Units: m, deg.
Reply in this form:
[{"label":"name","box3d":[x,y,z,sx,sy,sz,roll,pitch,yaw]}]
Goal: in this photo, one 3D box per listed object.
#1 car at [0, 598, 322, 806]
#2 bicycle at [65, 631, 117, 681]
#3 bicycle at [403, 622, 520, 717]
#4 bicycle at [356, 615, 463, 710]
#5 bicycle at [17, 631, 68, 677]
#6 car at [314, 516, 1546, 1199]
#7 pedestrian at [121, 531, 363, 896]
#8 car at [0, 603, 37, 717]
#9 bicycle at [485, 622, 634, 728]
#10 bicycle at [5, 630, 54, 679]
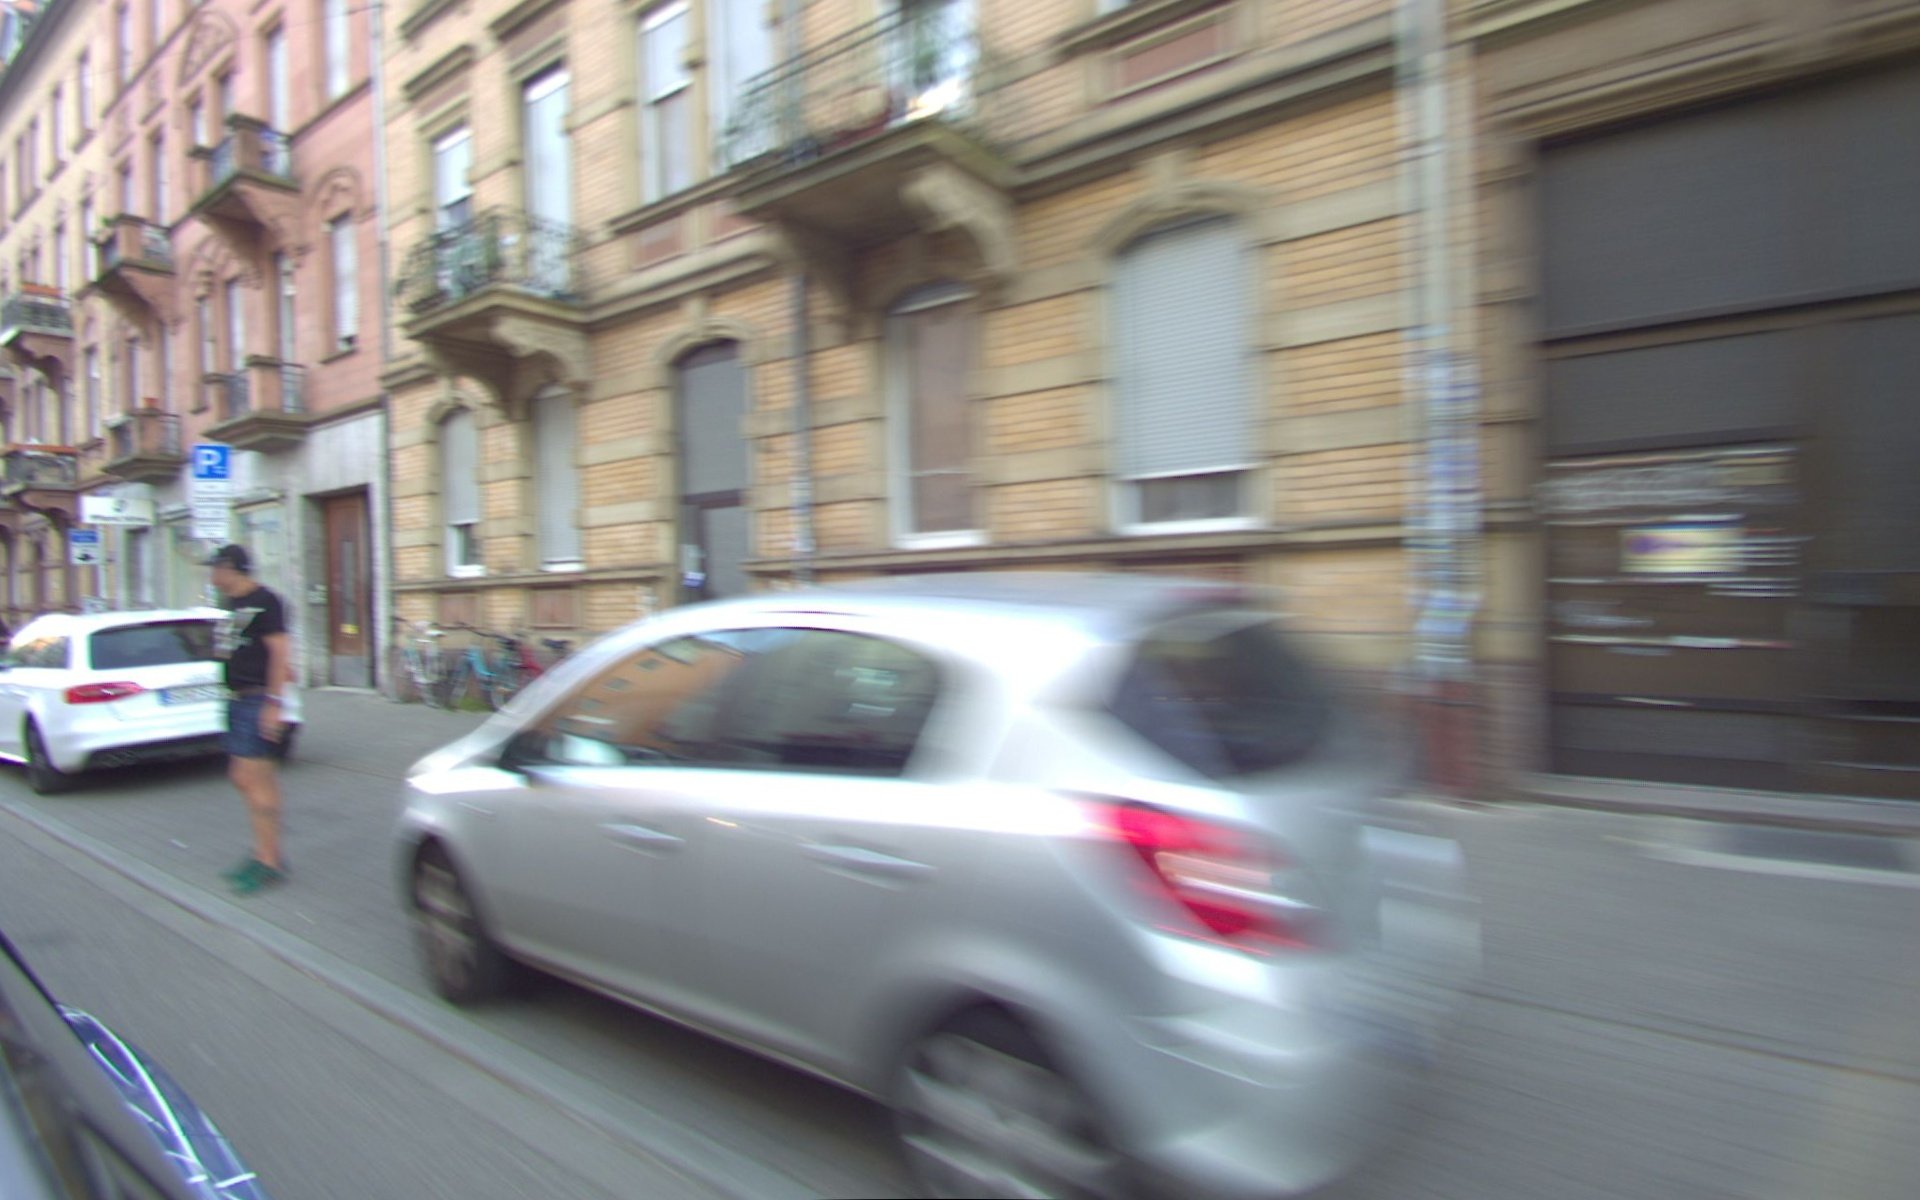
[{"label":"car","box3d":[-7.778,0.792,9.299,4.501,1.422,1.742,-2,1,37]},{"label":"bicycle","box3d":[-19.339,1.237,22.512,1.845,1.030,0.445,-2,4,38]},{"label":"bicycle","box3d":[-5.976,0.807,12.100,1.621,1.044,0.560,-2,1,37]},{"label":"bicycle","box3d":[-7.114,0.790,13.056,1.727,1.140,0.511,-2,1,37]},{"label":"bicycle","box3d":[-22.111,1.293,24.379,1.757,1.045,0.544,-2,2,38]},{"label":"car","box3d":[-0.445,0.613,3.442,3.995,1.468,1.701,-2,2,39]},{"label":"pedestrian","box3d":[-3.790,0.549,5.354,1.015,1.768,0.552,-1,1,23]},{"label":"car","box3d":[-16.057,0.967,15.642,4.438,1.646,1.836,-2,1,37]},{"label":"bicycle","box3d":[-4.308,0.785,10.860,1.617,1.035,0.588,-2,1,30]},{"label":"bicycle","box3d":[-23.212,1.351,25.242,1.757,1.131,0.544,-2,2,38]}]
